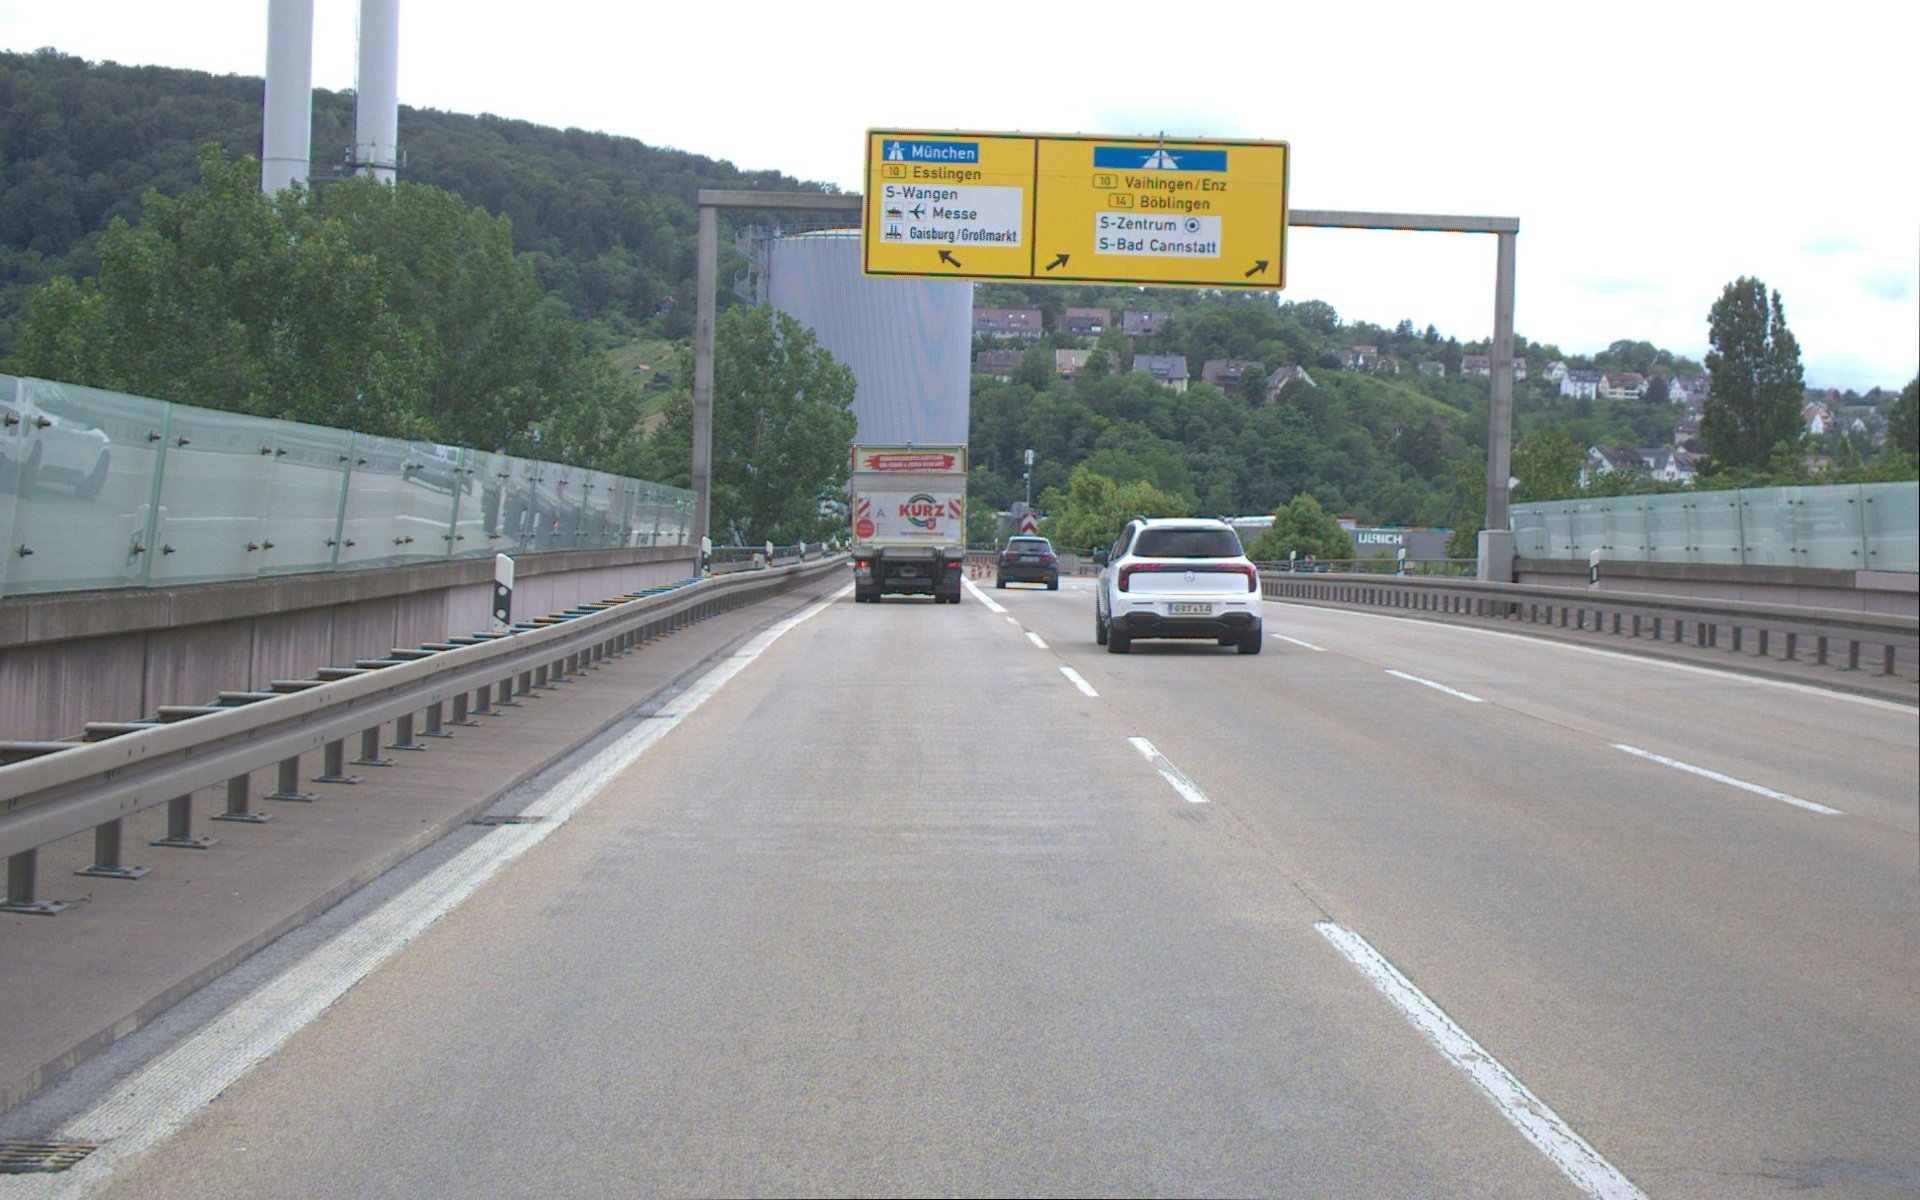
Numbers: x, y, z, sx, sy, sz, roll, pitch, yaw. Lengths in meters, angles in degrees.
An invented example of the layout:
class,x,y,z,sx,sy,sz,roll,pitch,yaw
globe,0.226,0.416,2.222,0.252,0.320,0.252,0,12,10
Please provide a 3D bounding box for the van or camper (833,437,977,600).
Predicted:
class,x,y,z,sx,sy,sz,roll,pitch,yaw
van or camper,-1.187,-1.864,80.055,3.122,3.567,8.550,1,1,0

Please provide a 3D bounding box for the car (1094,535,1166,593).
class,x,y,z,sx,sy,sz,roll,pitch,yaw
car,5.392,-1.175,109.585,1.923,1.779,4.114,1,1,-2

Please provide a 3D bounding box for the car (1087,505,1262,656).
class,x,y,z,sx,sy,sz,roll,pitch,yaw
car,2.637,-0.282,43.147,1.924,1.779,4.113,1,1,0

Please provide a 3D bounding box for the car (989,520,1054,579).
class,x,y,z,sx,sy,sz,roll,pitch,yaw
car,1.890,-1.583,106.503,1.924,1.779,4.113,1,1,0
